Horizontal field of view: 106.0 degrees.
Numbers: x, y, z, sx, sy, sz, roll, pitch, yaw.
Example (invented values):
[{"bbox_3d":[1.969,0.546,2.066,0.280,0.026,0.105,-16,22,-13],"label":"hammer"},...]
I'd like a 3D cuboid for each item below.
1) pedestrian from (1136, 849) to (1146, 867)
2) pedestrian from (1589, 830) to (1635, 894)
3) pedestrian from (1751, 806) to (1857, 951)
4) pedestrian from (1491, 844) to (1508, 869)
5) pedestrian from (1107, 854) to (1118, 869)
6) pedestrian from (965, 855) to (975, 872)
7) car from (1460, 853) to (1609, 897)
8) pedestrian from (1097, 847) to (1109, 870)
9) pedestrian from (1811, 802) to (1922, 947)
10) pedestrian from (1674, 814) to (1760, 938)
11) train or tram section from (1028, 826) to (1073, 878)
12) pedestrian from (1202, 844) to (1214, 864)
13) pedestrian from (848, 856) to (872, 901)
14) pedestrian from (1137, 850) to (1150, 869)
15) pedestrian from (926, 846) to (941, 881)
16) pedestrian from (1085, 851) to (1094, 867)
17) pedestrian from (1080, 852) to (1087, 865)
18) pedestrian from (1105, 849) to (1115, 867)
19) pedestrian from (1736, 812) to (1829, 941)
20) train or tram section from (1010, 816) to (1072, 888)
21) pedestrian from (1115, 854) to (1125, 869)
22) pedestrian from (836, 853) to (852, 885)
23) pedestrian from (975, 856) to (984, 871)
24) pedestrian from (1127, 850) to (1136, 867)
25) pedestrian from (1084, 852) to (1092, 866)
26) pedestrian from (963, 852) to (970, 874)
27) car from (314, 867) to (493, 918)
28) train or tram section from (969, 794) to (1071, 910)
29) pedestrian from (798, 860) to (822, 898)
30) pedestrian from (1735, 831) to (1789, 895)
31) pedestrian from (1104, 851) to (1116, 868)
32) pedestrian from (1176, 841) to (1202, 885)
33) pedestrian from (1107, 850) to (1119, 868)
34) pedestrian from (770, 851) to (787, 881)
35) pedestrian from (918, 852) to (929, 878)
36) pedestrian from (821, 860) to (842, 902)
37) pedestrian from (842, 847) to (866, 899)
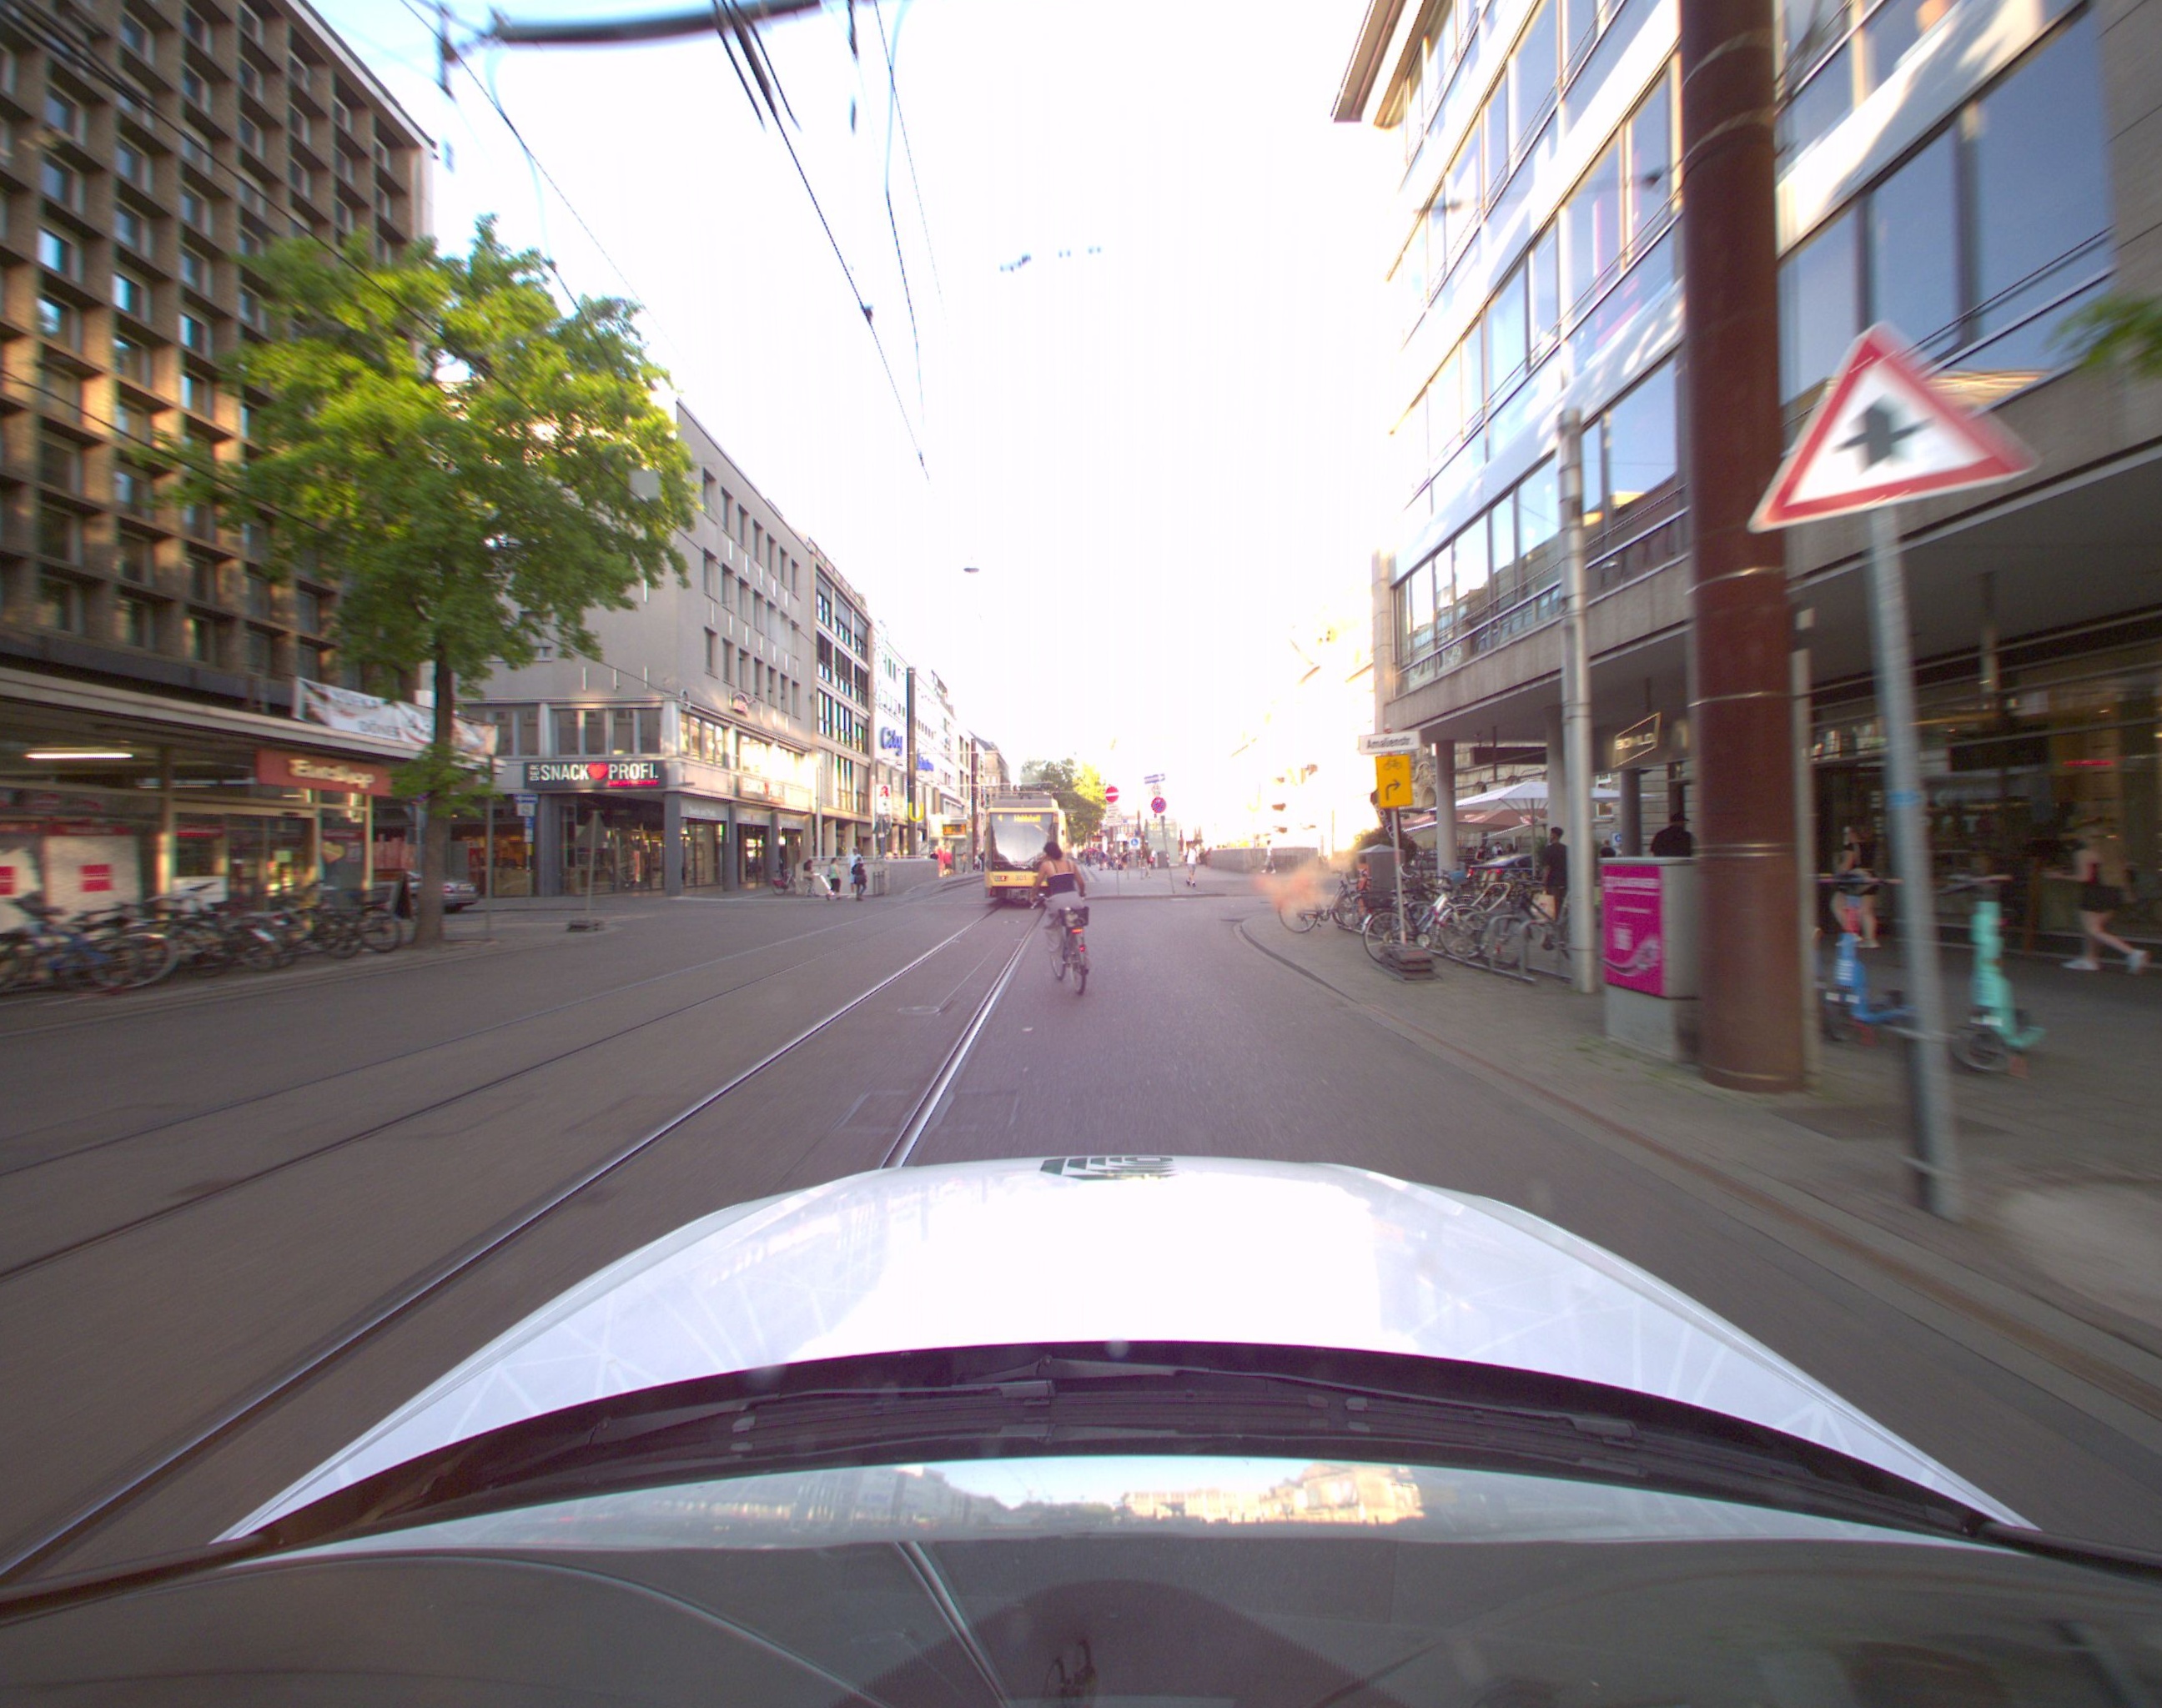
[{"bbox_3d":[5.588,0.393,76.024,0.787,1.661,0.772,-1,0,11],"label":"pedestrian"},{"bbox_3d":[15.714,0.228,24.111,0.801,1.839,0.874,1,0,-1],"label":"pedestrian"},{"bbox_3d":[9.353,0.310,10.562,0.660,1.787,0.719,-2,-1,0],"label":"pedestrian"},{"bbox_3d":[22.292,0.128,43.412,0.591,1.308,0.581,-1,2,-5],"label":"pedestrian"},{"bbox_3d":[2.627,0.641,68.437,0.790,1.221,0.768,-1,0,-4],"label":"pedestrian"},{"bbox_3d":[-9.212,0.784,67.843,0.705,1.379,0.720,-1,-1,-2],"label":"pedestrian"},{"bbox_3d":[15.137,0.696,27.308,4.028,1.409,1.774,-1,-1,-2],"label":"car"},{"bbox_3d":[1.709,0.337,64.597,0.735,1.823,0.816,-1,0,-15],"label":"pedestrian"},{"bbox_3d":[10.099,0.254,10.495,0.660,1.787,0.719,-2,-1,0],"label":"pedestrian"},{"bbox_3d":[9.531,0.320,12.233,0.660,1.787,0.719,-2,-1,0],"label":"pedestrian"},{"bbox_3d":[-2.049,-0.150,59.860,2.792,3.319,14.504,-1,0,0],"label":"train or tram section"},{"bbox_3d":[11.724,0.035,75.066,0.848,1.823,0.772,-1,0,-11],"label":"pedestrian"},{"bbox_3d":[-7.792,0.870,28.731,0.683,1.542,0.604,-1,-1,-6],"label":"pedestrian"},{"bbox_3d":[5.578,0.465,72.597,0.773,1.661,0.785,-1,0,-41],"label":"pedestrian"},{"bbox_3d":[-8.131,0.535,44.772,0.712,1.925,0.708,-1,-1,-5],"label":"pedestrian"},{"bbox_3d":[0.860,0.483,84.174,0.762,1.661,0.797,-1,0,11],"label":"pedestrian"},{"bbox_3d":[0.263,0.598,103.647,0.762,1.661,0.797,-1,0,9],"label":"pedestrian"},{"bbox_3d":[2.666,0.409,75.844,0.787,1.661,0.772,-1,0,11],"label":"pedestrian"},{"bbox_3d":[10.151,0.314,11.804,0.660,1.787,0.719,-2,-1,0],"label":"pedestrian"},{"bbox_3d":[-1.949,-0.117,45.345,2.792,3.319,14.504,-1,0,0],"label":"train or tram section"},{"bbox_3d":[3.229,0.633,67.641,0.790,1.221,0.768,-1,0,-4],"label":"pedestrian"},{"bbox_3d":[-13.132,0.845,45.148,0.712,1.725,0.709,-1,-1,-2],"label":"pedestrian"},{"bbox_3d":[-9.148,0.871,73.177,0.705,1.379,0.720,-1,-1,-2],"label":"pedestrian"},{"bbox_3d":[5.146,0.444,83.673,0.787,1.661,0.772,-1,0,11],"label":"pedestrian"},{"bbox_3d":[0.818,0.562,98.228,0.787,1.661,0.772,-1,0,11],"label":"pedestrian"},{"bbox_3d":[-8.453,0.673,60.079,0.511,1.617,0.503,-1,-1,-10],"label":"pedestrian"},{"bbox_3d":[-21.649,1.198,26.160,4.110,1.510,1.798,-1,-1,-3],"label":"car"},{"bbox_3d":[-1.857,-0.084,30.839,2.792,3.319,14.504,-1,0,0],"label":"train or tram section"},{"bbox_3d":[-10.629,0.978,31.985,0.548,1.434,0.689,-2,-1,37],"label":"pedestrian"},{"bbox_3d":[20.298,0.240,24.277,0.863,1.839,0.872,-1,2,-6],"label":"pedestrian"},{"bbox_3d":[2.727,0.477,76.029,0.759,1.579,0.800,-1,0,29],"label":"pedestrian"},{"bbox_3d":[4.599,0.384,34.726,1.010,1.863,1.043,0,-1,1],"label":"pedestrian"},{"bbox_3d":[2.788,0.451,71.919,0.759,1.579,0.800,-1,0,29],"label":"pedestrian"},{"bbox_3d":[-17.692,0.716,47.606,0.712,1.725,0.709,-1,-1,-2],"label":"pedestrian"},{"bbox_3d":[-9.740,0.680,50.433,0.603,1.588,0.626,-1,-1,-10],"label":"pedestrian"},{"bbox_3d":[-9.031,0.967,29.511,0.603,1.494,0.554,-1,-1,-8],"label":"pedestrian"},{"bbox_3d":[-8.590,0.720,30.843,0.772,1.926,0.707,-1,-1,-8],"label":"pedestrian"}]
